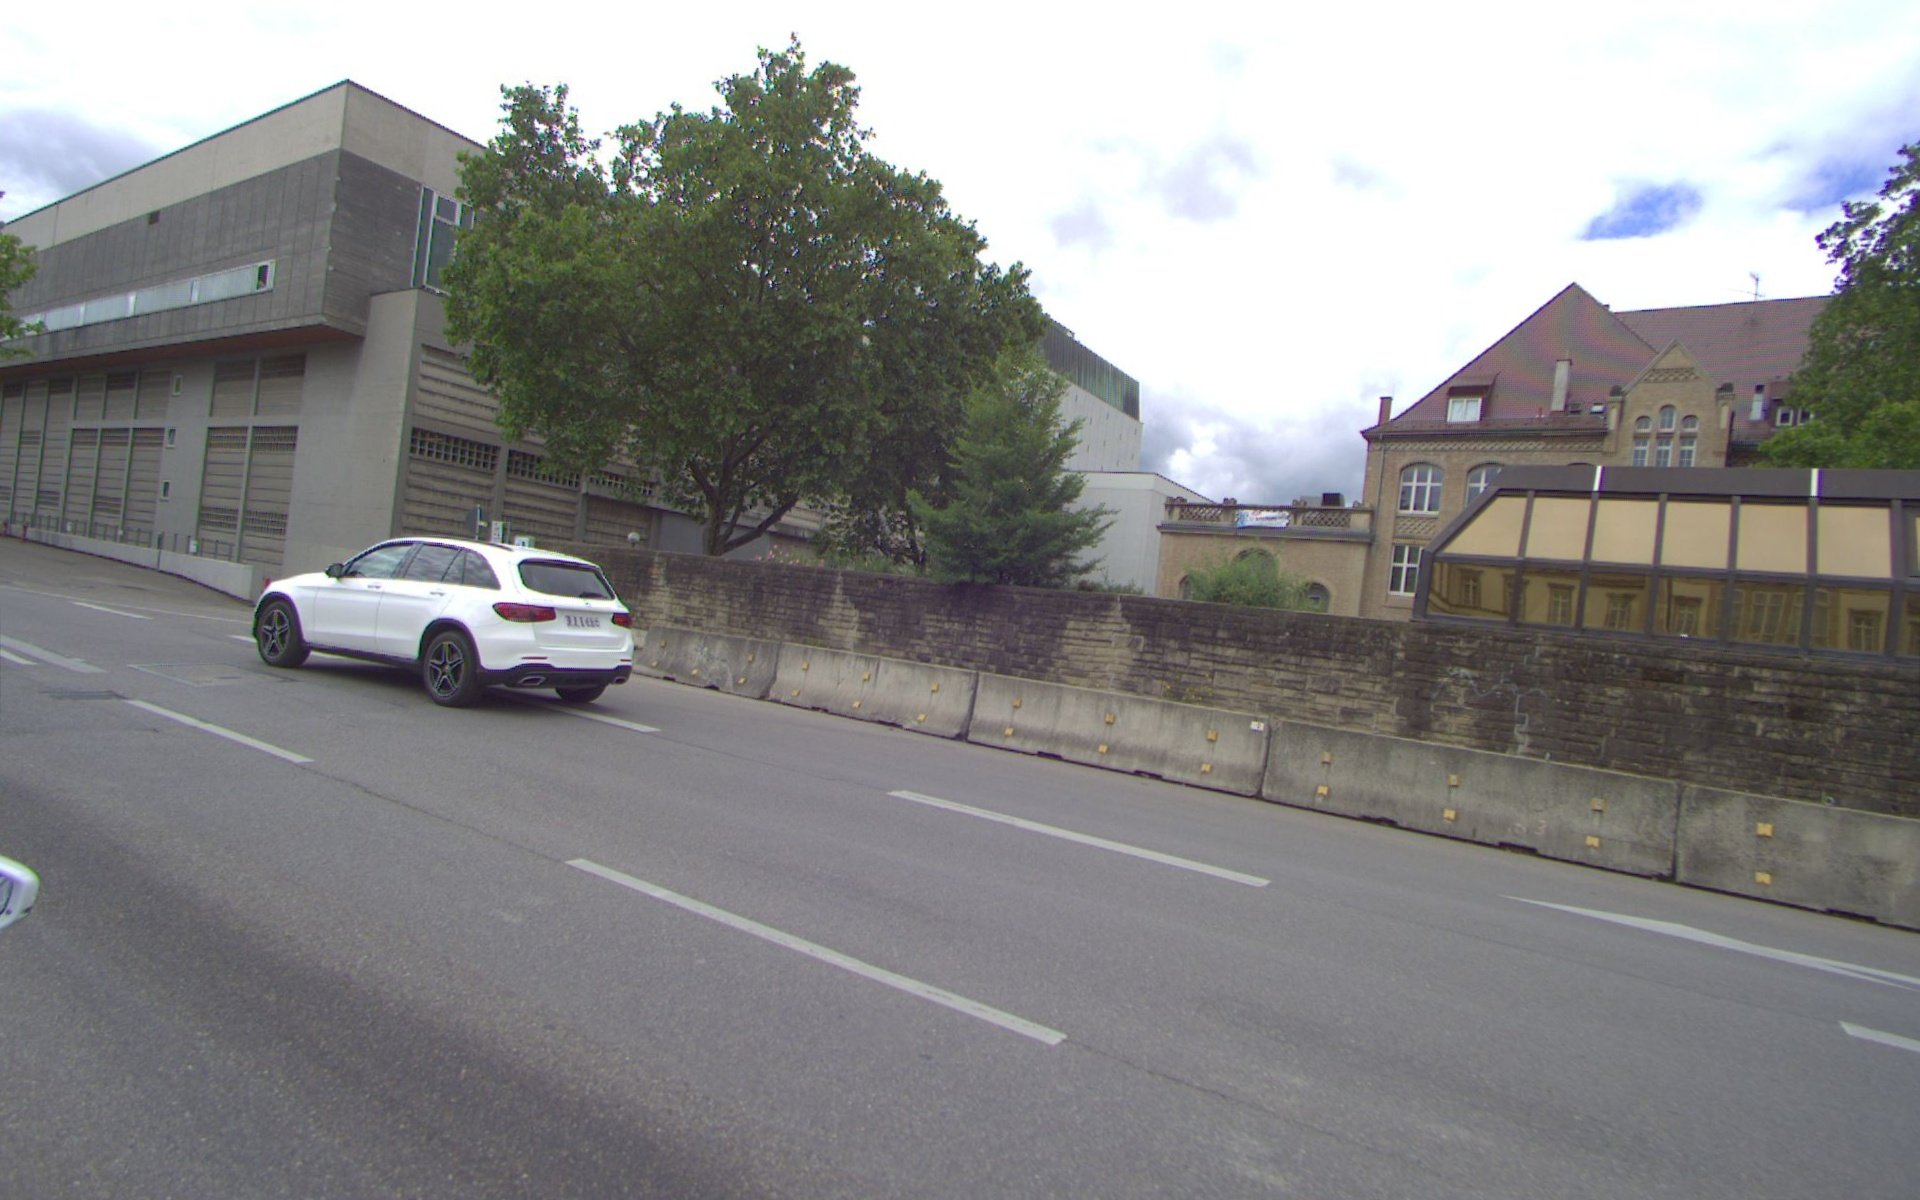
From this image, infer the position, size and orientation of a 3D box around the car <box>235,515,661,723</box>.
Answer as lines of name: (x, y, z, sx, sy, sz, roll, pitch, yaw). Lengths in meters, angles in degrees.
car: (-5.721, 0.130, 11.152, 4.471, 1.664, 1.814, 6, 1, 26)
